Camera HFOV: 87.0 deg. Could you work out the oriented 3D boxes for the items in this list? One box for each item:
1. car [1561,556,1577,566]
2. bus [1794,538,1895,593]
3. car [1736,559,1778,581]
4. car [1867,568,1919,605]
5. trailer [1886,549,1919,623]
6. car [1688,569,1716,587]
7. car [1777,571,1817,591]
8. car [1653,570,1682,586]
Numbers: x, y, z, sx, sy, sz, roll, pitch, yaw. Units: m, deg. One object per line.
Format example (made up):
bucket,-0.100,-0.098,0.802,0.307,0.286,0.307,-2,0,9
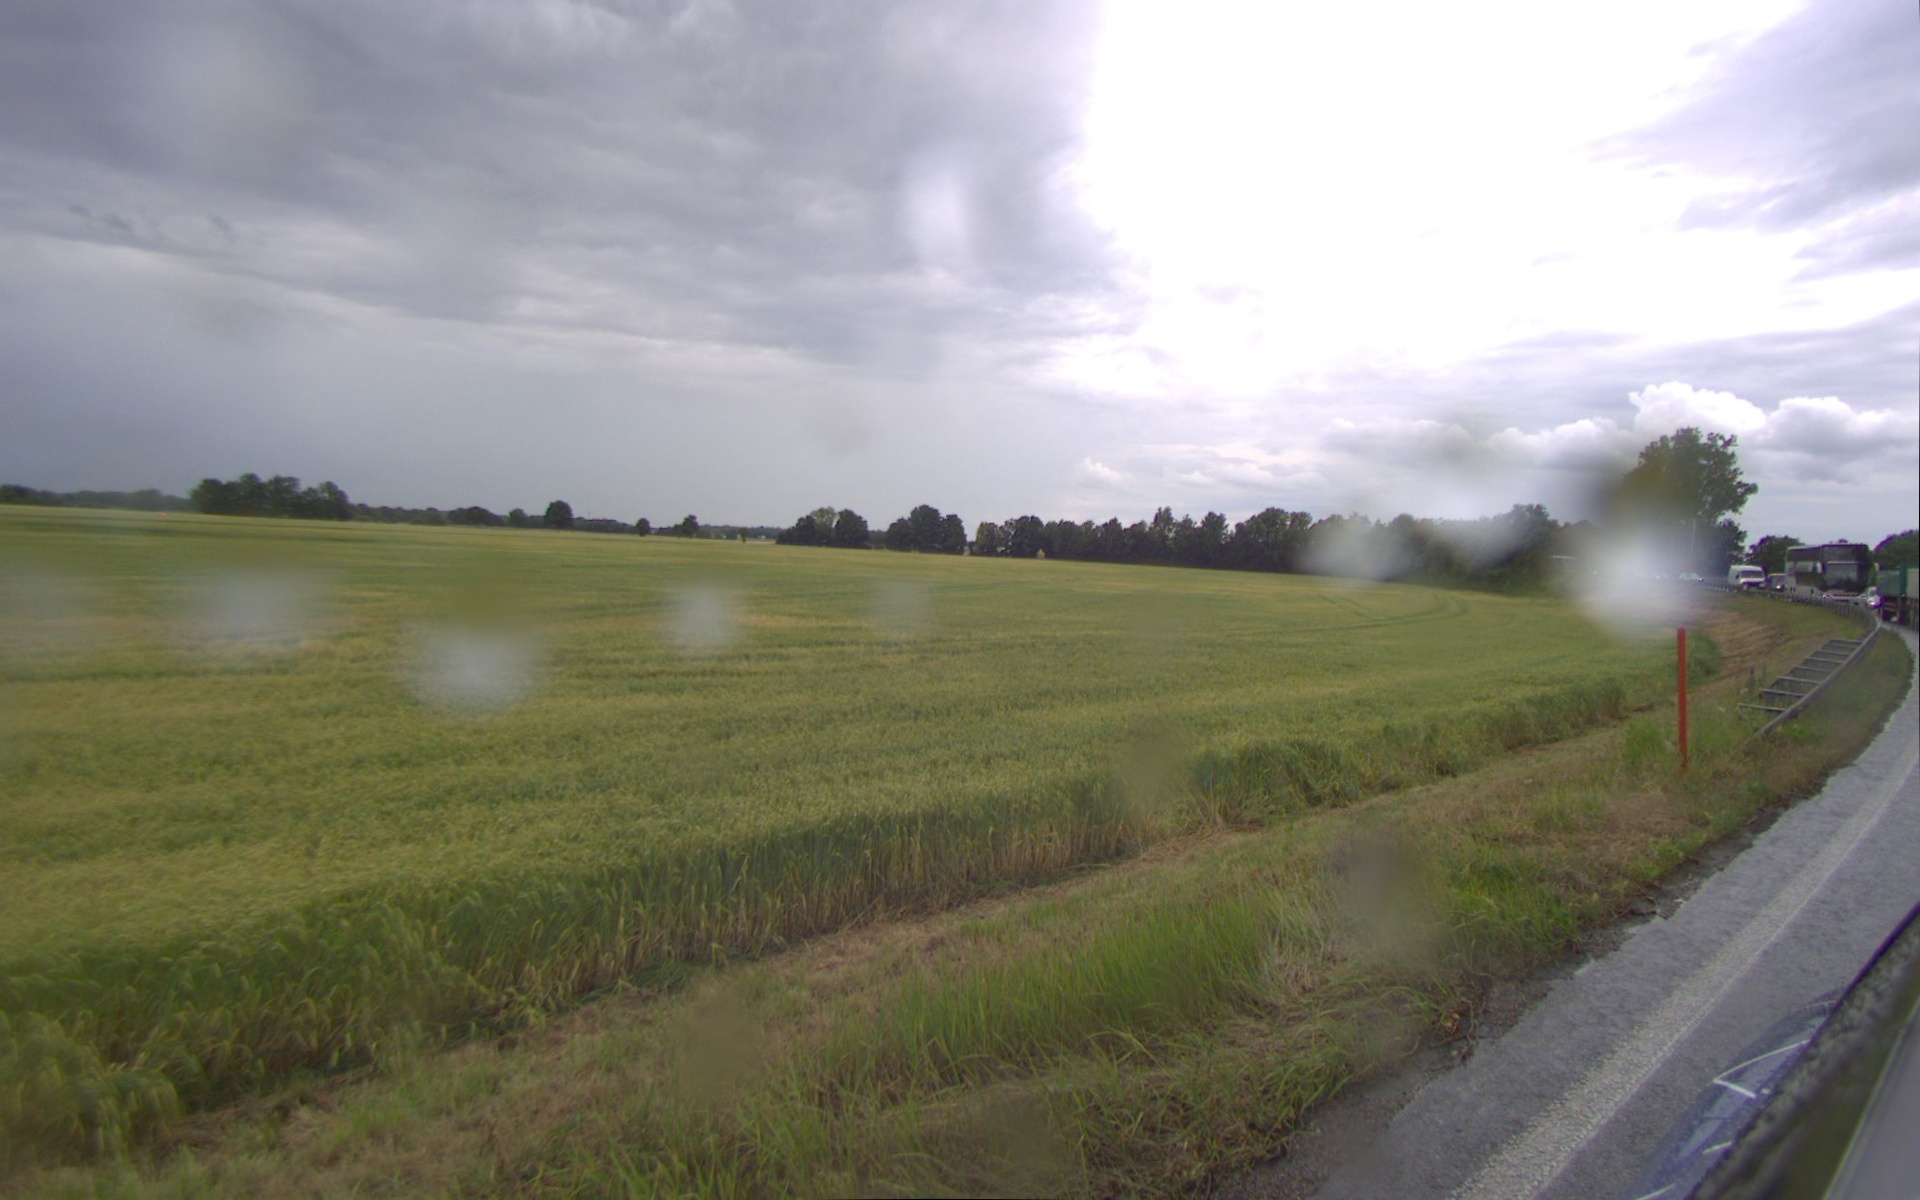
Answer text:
car,114.398,-7.320,190.107,1.761,1.953,4.151,0,1,20
bus,59.389,-2.402,68.336,2.944,3.353,14.669,0,2,33
car,75.104,-2.826,95.452,1.979,2.038,5.290,0,2,25
car,48.655,-0.733,52.230,2.030,1.865,5.271,0,2,34
trailer,38.980,-0.621,39.562,2.970,2.665,15.466,1,2,38
car,87.850,-2.594,119.835,1.981,2.038,4.193,0,1,27
car,67.446,-1.550,81.605,1.800,1.597,3.958,0,2,30
car,93.337,-2.949,133.534,1.974,2.038,4.239,0,1,19
